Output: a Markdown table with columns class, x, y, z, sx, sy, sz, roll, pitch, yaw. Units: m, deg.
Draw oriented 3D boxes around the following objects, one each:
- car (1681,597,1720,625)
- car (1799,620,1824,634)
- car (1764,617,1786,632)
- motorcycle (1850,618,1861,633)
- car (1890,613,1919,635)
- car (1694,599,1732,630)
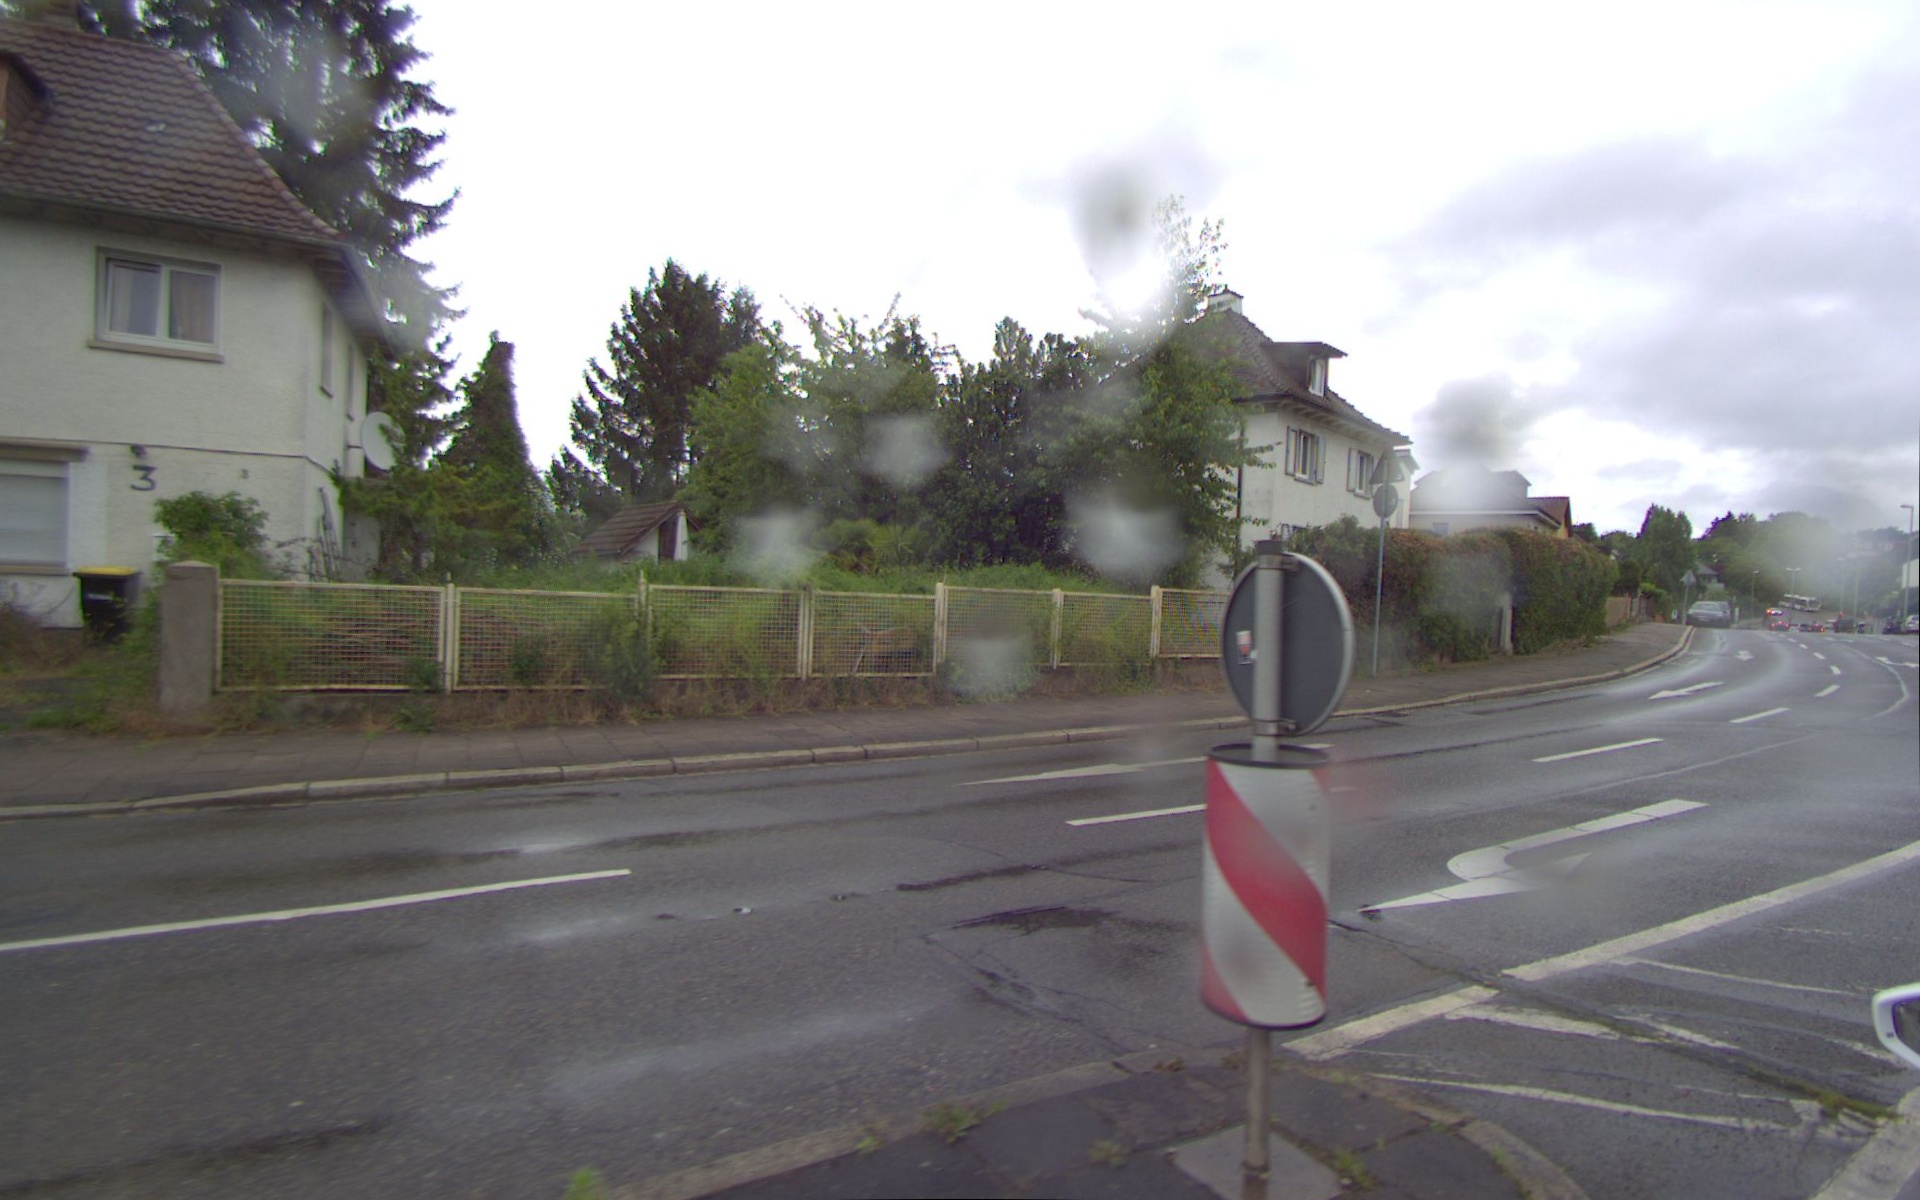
| class | x | y | z | sx | sy | sz | roll | pitch | yaw |
| --- | --- | --- | --- | --- | --- | --- | --- | --- | --- |
| car | 43.707 | 0.661 | 59.284 | 1.728 | 1.458 | 4.113 | 2 | 0 | 38 |
| car | 114.244 | 3.614 | 134.795 | 1.966 | 1.763 | 3.989 | 2 | 0 | 34 |
| car | 102.606 | 3.053 | 126.439 | 1.970 | 1.763 | 3.980 | 2 | 0 | 41 |
| motorcycle | 94.899 | 2.721 | 106.456 | 0.694 | 1.529 | 2.142 | -1 | -2 | 37 |
| car | 73.728 | 1.865 | 77.995 | 1.678 | 1.530 | 4.518 | 2 | 0 | 37 |
| car | 54.138 | 1.081 | 72.298 | 1.887 | 2.029 | 5.072 | 2 | 0 | 35 |
